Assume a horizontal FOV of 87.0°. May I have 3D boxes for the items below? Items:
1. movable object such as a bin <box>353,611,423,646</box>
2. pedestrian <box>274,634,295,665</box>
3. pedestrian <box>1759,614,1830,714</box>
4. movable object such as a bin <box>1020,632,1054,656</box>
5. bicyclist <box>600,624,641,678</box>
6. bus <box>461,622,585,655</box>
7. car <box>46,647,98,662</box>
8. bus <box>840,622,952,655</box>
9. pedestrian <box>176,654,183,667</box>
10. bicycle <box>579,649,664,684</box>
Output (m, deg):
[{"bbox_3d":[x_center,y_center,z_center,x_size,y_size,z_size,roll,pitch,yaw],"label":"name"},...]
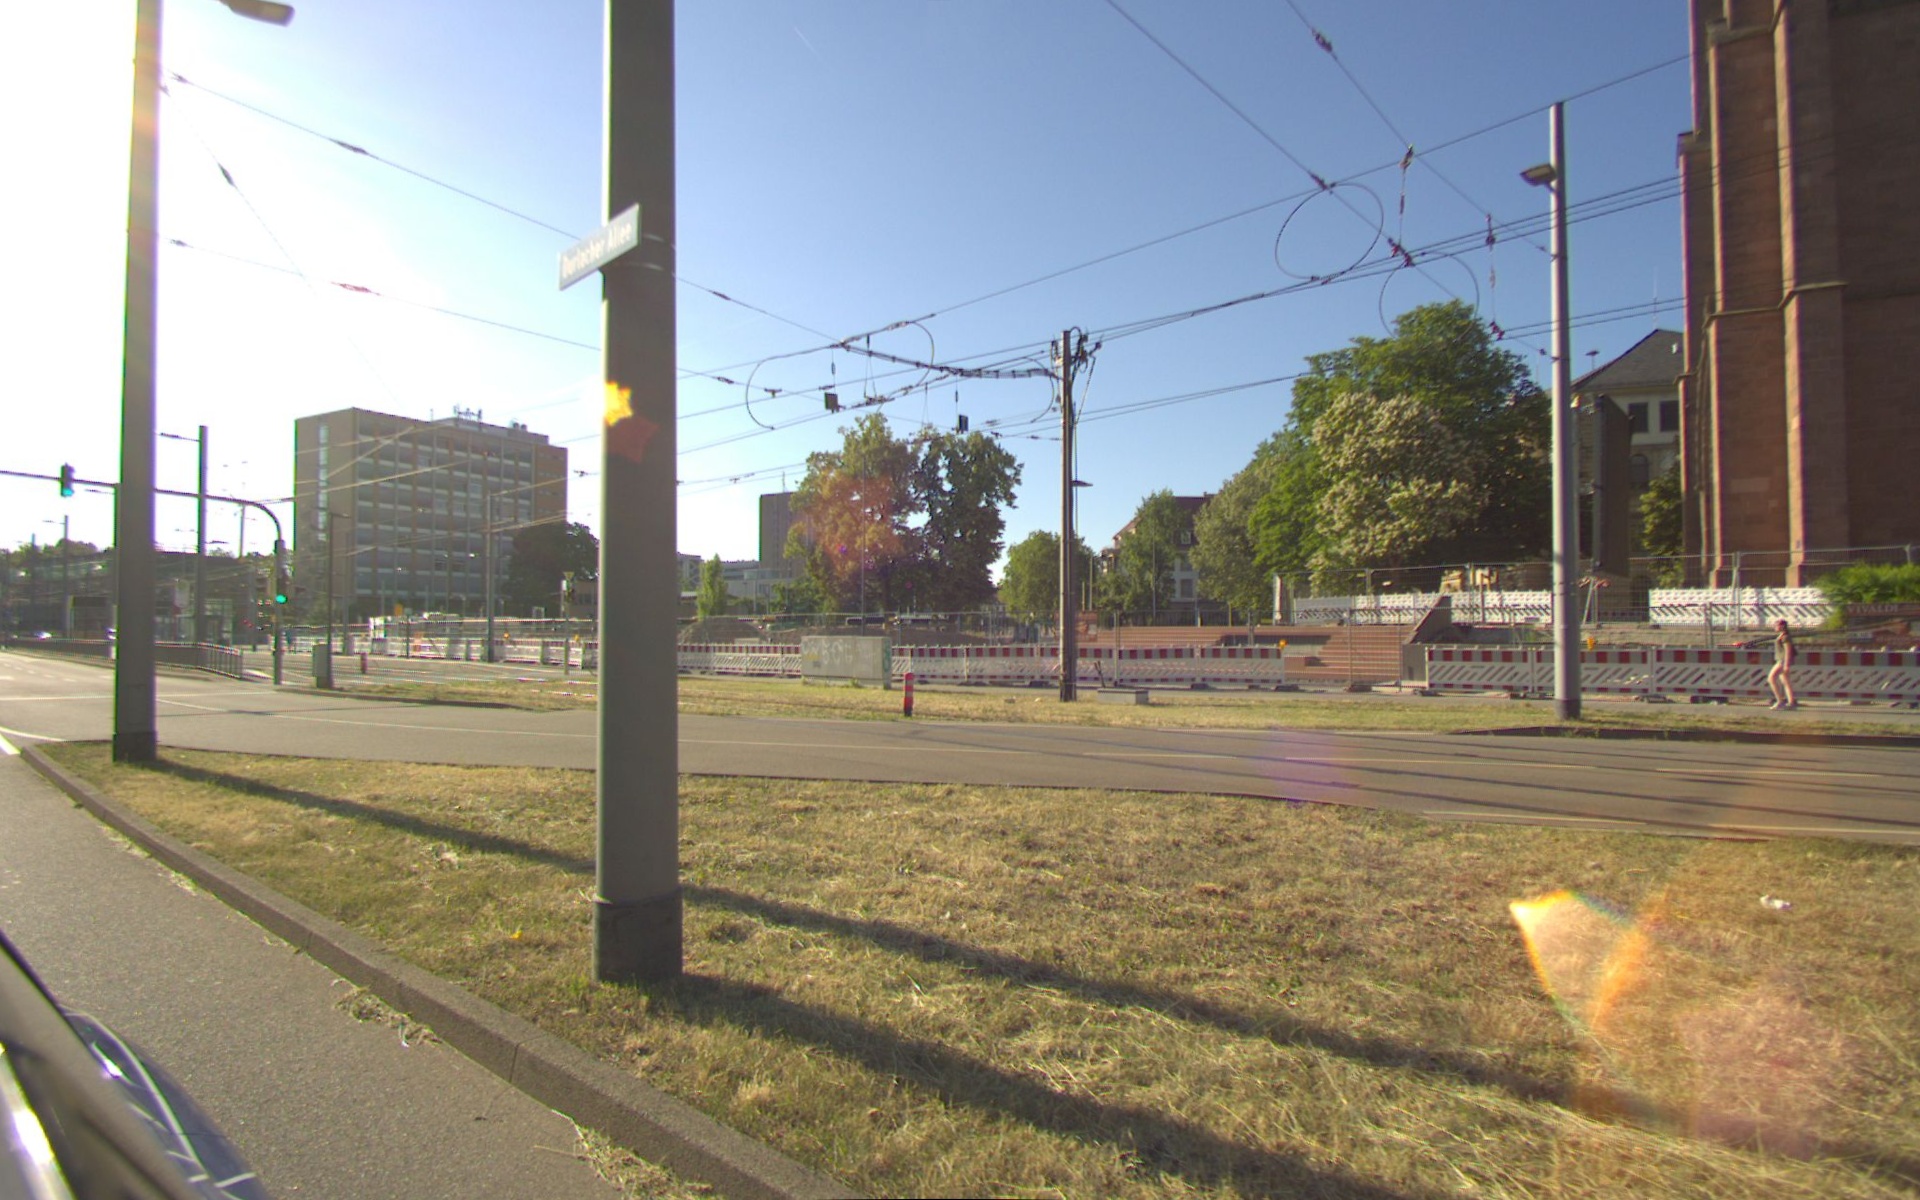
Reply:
[{"bbox_3d":[-47.860,2.408,84.696,5.140,2.545,2.612,-4,-6,25],"label":"movable object such as a bin"},{"bbox_3d":[-40.557,2.984,60.760,1.179,1.782,0.793,-6,-7,42],"label":"pedestrian"},{"bbox_3d":[15.461,1.201,18.771,0.862,1.787,0.720,-6,-7,39],"label":"pedestrian"},{"bbox_3d":[7.048,4.024,92.373,1.987,2.029,3.969,-4,-5,22],"label":"movable object such as a bin"},{"bbox_3d":[-11.953,1.805,35.674,1.297,1.823,0.968,-1,-4,-16],"label":"bicyclist"},{"bbox_3d":[-48.267,4.257,112.063,12.471,3.219,2.843,-1,-5,-4],"label":"bus"},{"bbox_3d":[-111.789,6.857,127.475,4.627,1.697,2.005,1,-6,-33],"label":"car"},{"bbox_3d":[-7.263,4.362,114.851,12.471,3.219,3.253,-1,-5,-4],"label":"bus"},{"bbox_3d":[-109.389,8.486,141.812,0.721,1.753,0.623,2,-2,-37],"label":"pedestrian"},{"bbox_3d":[-11.912,2.343,35.665,2.776,1.105,0.968,-2,-4,-15],"label":"bicycle"}]
